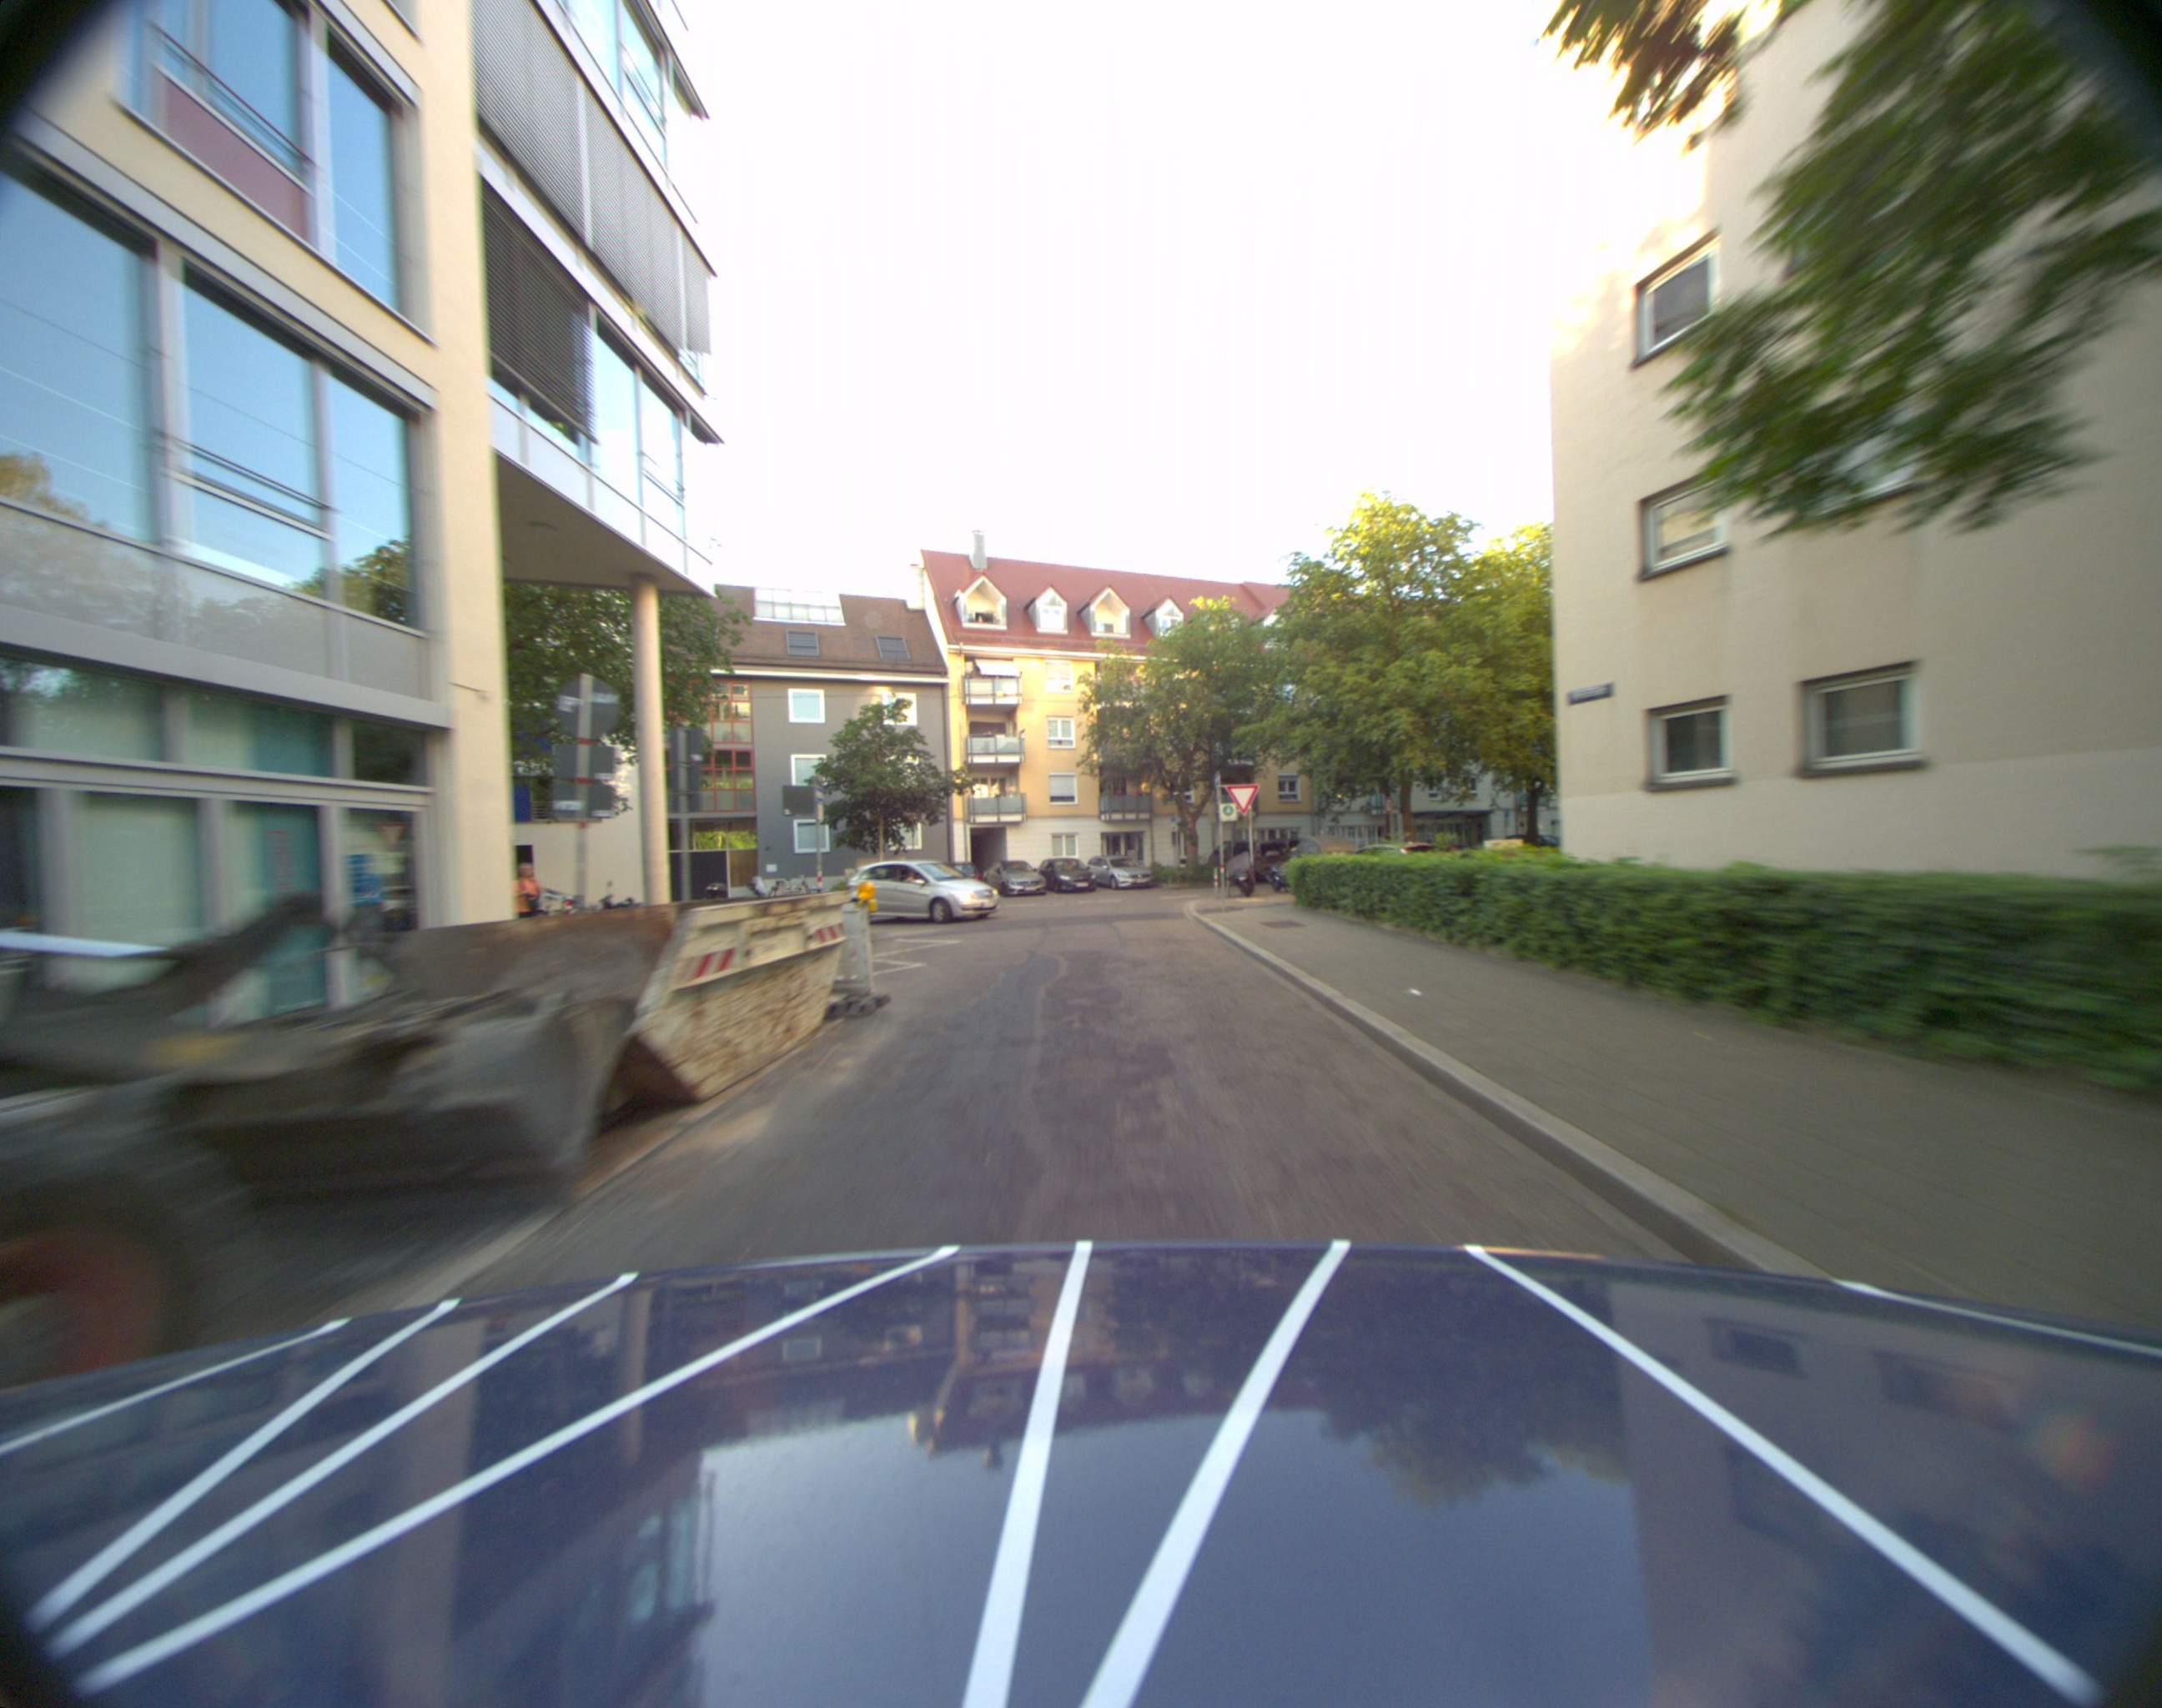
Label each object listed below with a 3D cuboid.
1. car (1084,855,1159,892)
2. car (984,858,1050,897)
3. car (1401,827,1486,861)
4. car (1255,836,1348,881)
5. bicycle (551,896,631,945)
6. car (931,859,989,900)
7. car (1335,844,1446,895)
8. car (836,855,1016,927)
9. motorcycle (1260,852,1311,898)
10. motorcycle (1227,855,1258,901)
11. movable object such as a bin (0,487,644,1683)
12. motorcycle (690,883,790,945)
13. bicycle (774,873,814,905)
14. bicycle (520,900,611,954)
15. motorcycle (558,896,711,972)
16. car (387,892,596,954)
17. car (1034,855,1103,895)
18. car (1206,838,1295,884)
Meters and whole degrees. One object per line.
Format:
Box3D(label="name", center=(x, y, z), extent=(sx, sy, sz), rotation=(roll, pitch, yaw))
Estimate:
Box3D(label="car", center=(1.761, 0.843, 34.855), extent=(1.829, 1.460, 4.320), rotation=(-2, 2, -21))
Box3D(label="car", center=(-2.849, 0.971, 32.937), extent=(1.749, 1.395, 4.238), rotation=(-2, 2, -21))
Box3D(label="car", center=(19.820, -0.566, 41.731), extent=(2.001, 1.718, 3.993), rotation=(-3, 2, -19))
Box3D(label="car", center=(10.767, 0.149, 37.457), extent=(2.231, 2.065, 4.320), rotation=(-2, 2, -21))
Box3D(label="bicycle", center=(-11.822, 1.597, 18.369), extent=(1.533, 1.059, 0.375), rotation=(-3, 1, -23))
Box3D(label="car", center=(-5.171, 1.010, 32.067), extent=(1.634, 1.442, 3.849), rotation=(-2, 2, -21))
Box3D(label="car", center=(10.278, 0.495, 25.488), extent=(1.634, 1.498, 3.496), rotation=(-3, 0, -15))
Box3D(label="car", center=(-4.011, 0.961, 19.563), extent=(4.262, 1.608, 1.808), rotation=(-3, 2, 28))
Box3D(label="motorcycle", center=(6.534, 0.646, 24.393), extent=(0.572, 1.398, 1.968), rotation=(-2, 0, -17))
Box3D(label="motorcycle", center=(4.986, 0.721, 23.601), extent=(0.858, 1.345, 1.960), rotation=(-2, 0, 11))
Box3D(label="movable object such as a bin", center=(-3.421, 0.540, 0.982), extent=(2.021, 2.608, 5.751), rotation=(-5, 0, 2))
Box3D(label="motorcycle", center=(-8.101, 1.434, 18.059), extent=(2.203, 1.386, 0.802), rotation=(-3, -1, 21))
Box3D(label="bicycle", center=(-11.716, 1.412, 31.044), extent=(1.460, 1.202, 0.611), rotation=(-3, 2, -21))
Box3D(label="bicycle", center=(-11.091, 1.558, 16.374), extent=(1.533, 1.034, 0.375), rotation=(-3, 0, -23))
Box3D(label="motorcycle", center=(-7.941, 1.389, 13.612), extent=(2.254, 1.117, 0.640), rotation=(-3, 0, -31))
Box3D(label="car", center=(-17.448, 2.007, 22.770), extent=(4.542, 1.440, 1.888), rotation=(-3, -2, -21))
Box3D(label="car", center=(-0.635, 0.877, 33.796), extent=(1.749, 1.494, 4.238), rotation=(-2, 2, -21))
Box3D(label="car", center=(8.175, 0.276, 37.049), extent=(2.231, 2.065, 4.320), rotation=(-2, 2, -21))
